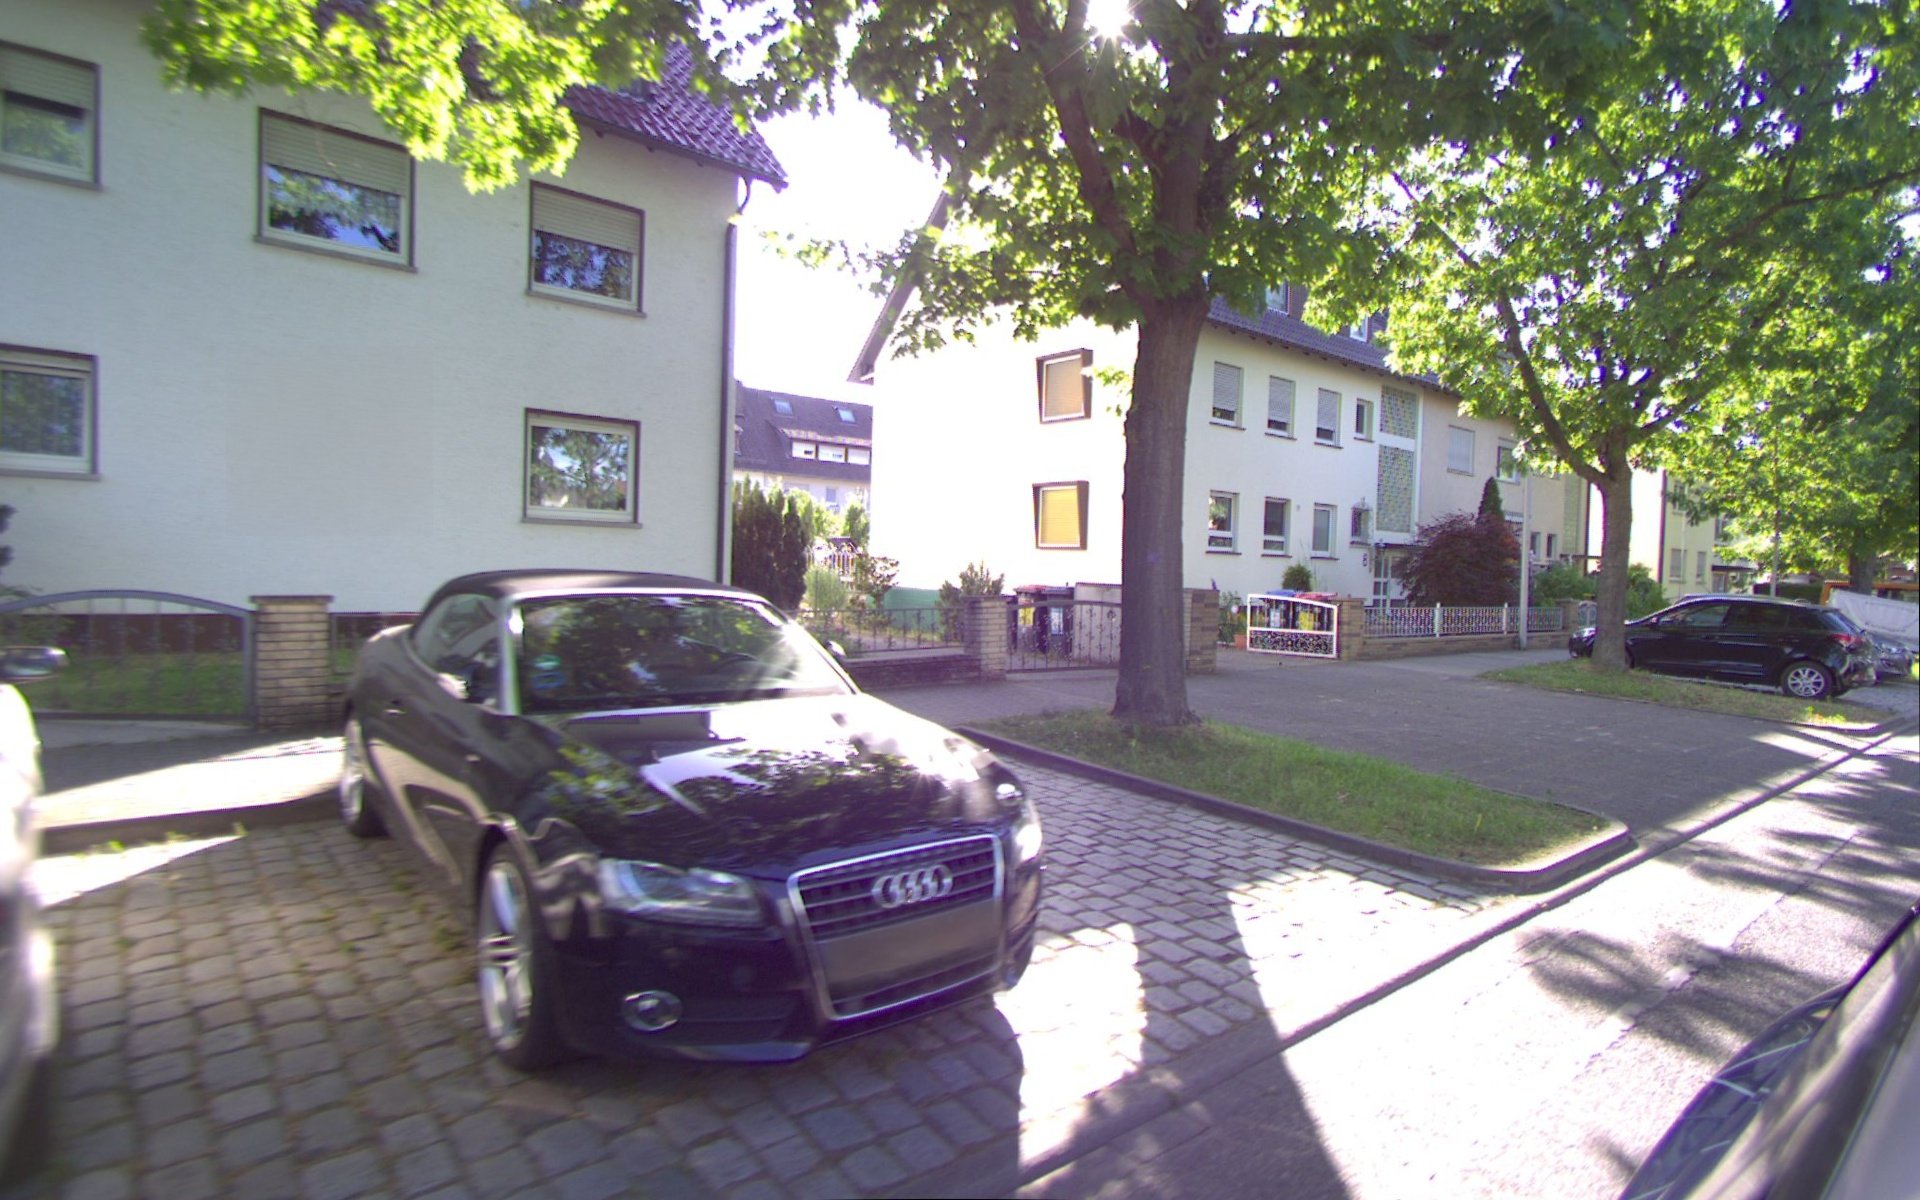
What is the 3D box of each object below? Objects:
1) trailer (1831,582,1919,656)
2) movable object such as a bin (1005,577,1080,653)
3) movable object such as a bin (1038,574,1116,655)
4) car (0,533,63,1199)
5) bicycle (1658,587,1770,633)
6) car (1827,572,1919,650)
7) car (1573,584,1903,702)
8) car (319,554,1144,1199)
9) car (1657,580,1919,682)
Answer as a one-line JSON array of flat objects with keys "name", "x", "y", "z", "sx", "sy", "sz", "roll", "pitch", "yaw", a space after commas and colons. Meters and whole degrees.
[{"name": "trailer", "x": 23.872, "y": 0.487, "z": 25.303, "sx": 1.588, "sy": 1.684, "sz": 2.949, "roll": -1, "pitch": 5, "yaw": -44}, {"name": "movable object such as a bin", "x": 1.267, "y": 0.209, "z": 15.520, "sx": 0.890, "sy": 1.112, "sz": 0.704, "roll": -1, "pitch": 3, "yaw": -40}, {"name": "movable object such as a bin", "x": 1.725, "y": 0.193, "z": 14.905, "sx": 0.890, "sy": 1.125, "sz": 0.704, "roll": -1, "pitch": 3, "yaw": -40}, {"name": "car", "x": -3.467, "y": 0.525, "z": 2.549, "sx": 1.765, "sy": 1.431, "sz": 4.285, "roll": 0, "pitch": 3, "yaw": -41}, {"name": "bicycle", "x": 24.533, "y": 0.288, "z": 32.996, "sx": 0.459, "sy": 1.252, "sz": 2.868, "roll": -1, "pitch": 5, "yaw": -37}, {"name": "car", "x": 27.481, "y": 0.350, "z": 28.090, "sx": 2.048, "sy": 2.109, "sz": 4.832, "roll": 1, "pitch": 2, "yaw": -38}, {"name": "car", "x": 12.330, "y": 0.573, "z": 16.262, "sx": 1.631, "sy": 1.534, "sz": 3.893, "roll": -1, "pitch": 3, "yaw": -38}, {"name": "car", "x": -1.478, "y": 0.546, "z": 4.514, "sx": 1.840, "sy": 1.379, "sz": 4.357, "roll": -1, "pitch": 3, "yaw": -39}, {"name": "car", "x": 16.128, "y": 0.499, "z": 19.607, "sx": 1.727, "sy": 1.643, "sz": 3.995, "roll": -1, "pitch": 3, "yaw": -41}]
